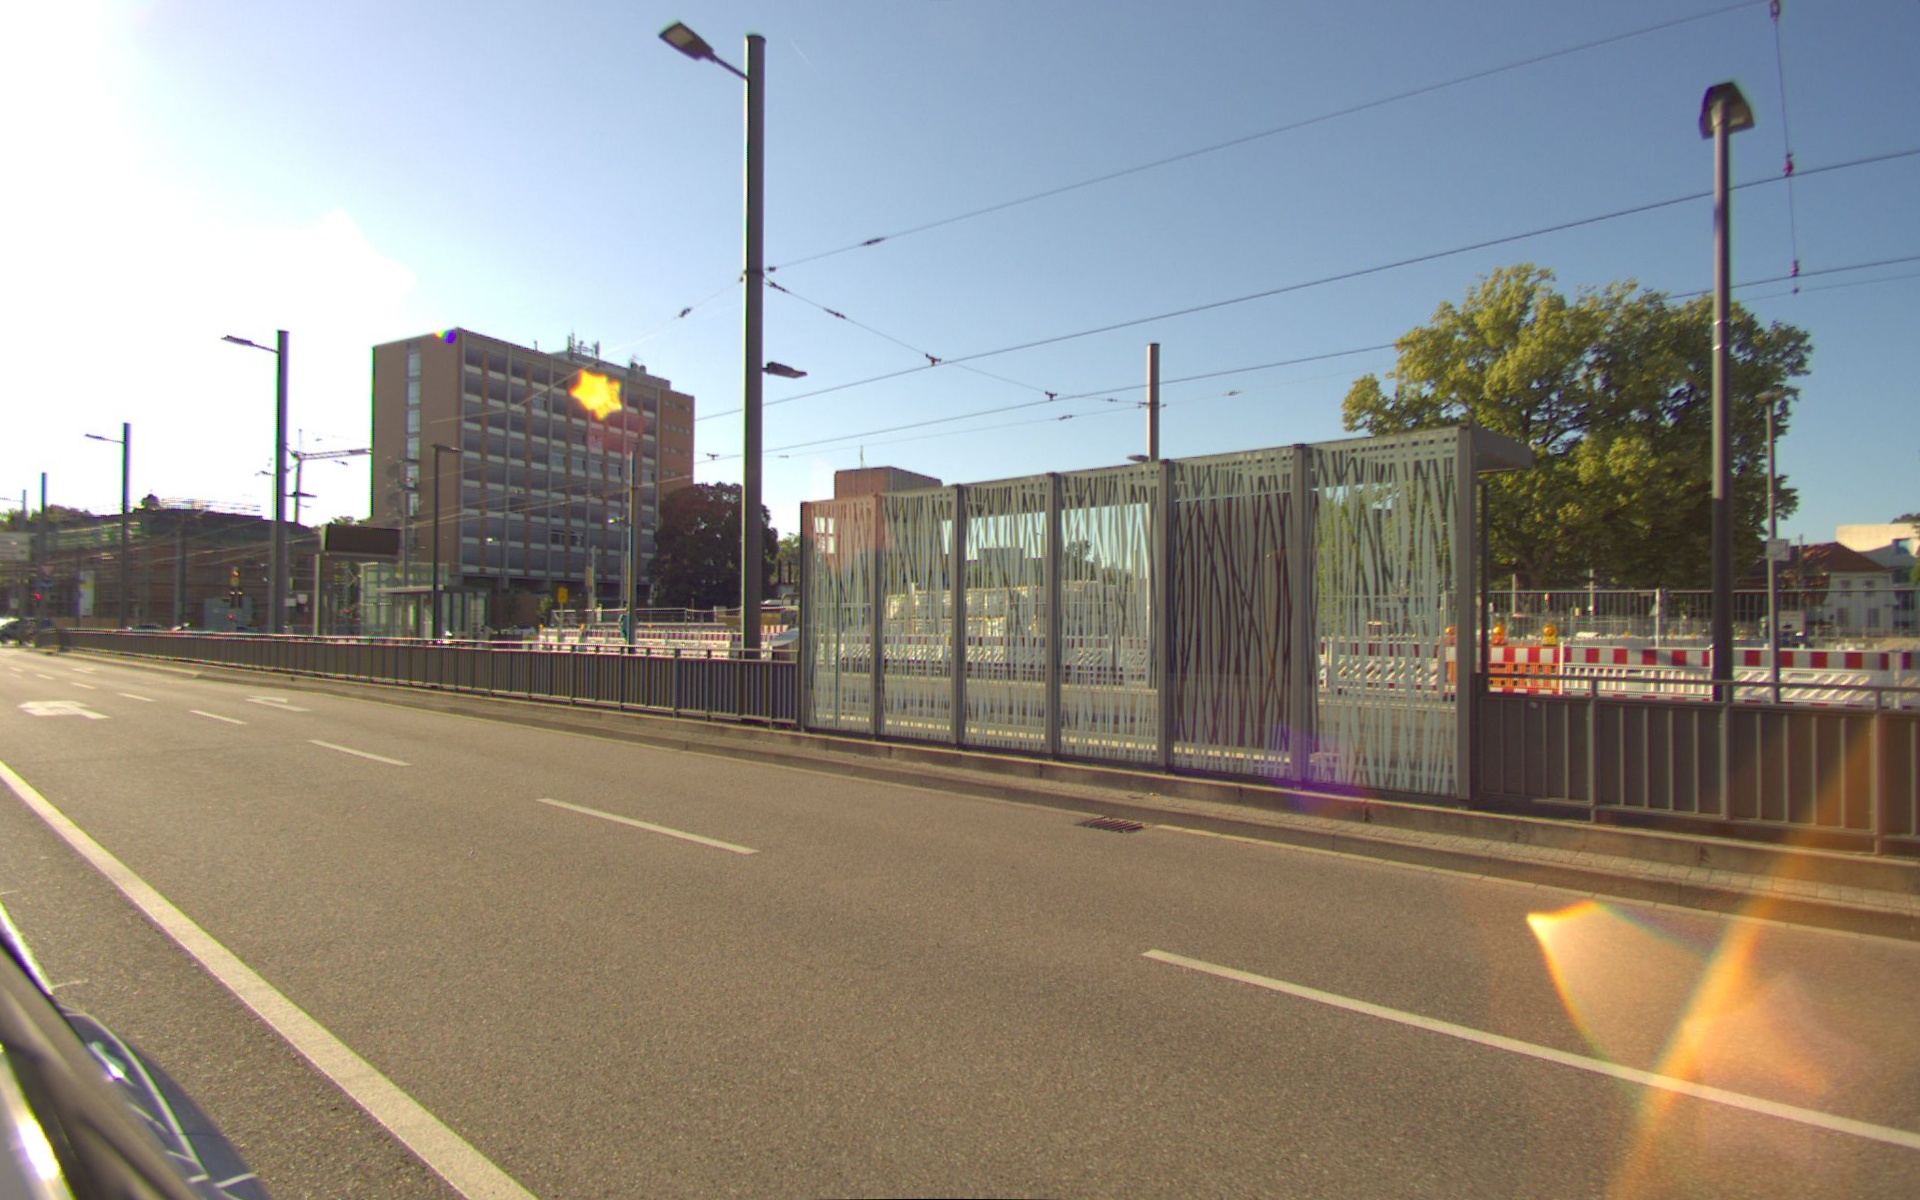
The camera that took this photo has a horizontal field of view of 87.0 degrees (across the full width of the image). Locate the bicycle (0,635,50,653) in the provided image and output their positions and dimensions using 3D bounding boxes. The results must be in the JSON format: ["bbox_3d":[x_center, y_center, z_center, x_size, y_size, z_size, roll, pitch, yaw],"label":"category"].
[{"bbox_3d":[-51.504,2.431,55.742,0.814,0.949,1.872,-1,-3,36],"label":"bicycle"}]

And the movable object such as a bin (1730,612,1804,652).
[{"bbox_3d":[45.035,1.837,56.604,1.986,2.029,3.972,-3,-4,21],"label":"movable object such as a bin"}]

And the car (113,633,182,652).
[{"bbox_3d":[-73.818,3.868,92.056,4.626,1.697,2.006,1,-5,-30],"label":"car"}]

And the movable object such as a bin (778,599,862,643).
[{"bbox_3d":[-5.792,0.893,41.638,3.862,1.599,1.161,-5,-5,40],"label":"movable object such as a bin"}]

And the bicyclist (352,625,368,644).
[{"bbox_3d":[-45.841,2.634,77.320,0.802,1.354,0.905,-6,4,-20],"label":"bicyclist"}]

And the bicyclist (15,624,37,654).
[{"bbox_3d":[-51.475,2.174,55.788,0.814,1.628,0.668,-1,-3,36],"label":"bicyclist"}]

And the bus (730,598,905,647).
[{"bbox_3d":[-10.393,1.680,74.397,12.467,3.219,2.844,-1,-4,-5],"label":"bus"}]

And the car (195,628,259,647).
[{"bbox_3d":[-66.805,3.427,92.331,4.628,1.697,2.005,2,-5,-34],"label":"car"}]

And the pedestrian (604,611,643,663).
[{"bbox_3d":[-11.779,1.305,35.445,1.179,1.782,0.793,-5,-6,41],"label":"pedestrian"}]

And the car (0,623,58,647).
[{"bbox_3d":[-69.185,2.518,73.938,1.983,1.701,4.591,0,-2,17],"label":"car"}]

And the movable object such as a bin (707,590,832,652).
[{"bbox_3d":[-8.848,1.038,47.042,5.137,2.545,2.614,-3,-5,23],"label":"movable object such as a bin"}]

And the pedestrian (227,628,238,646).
[{"bbox_3d":[-72.999,3.721,101.538,0.612,1.752,0.666,1,-1,-7],"label":"pedestrian"}]

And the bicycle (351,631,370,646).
[{"bbox_3d":[-45.810,2.947,77.347,0.802,0.948,2.009,-6,4,-20],"label":"bicycle"}]
